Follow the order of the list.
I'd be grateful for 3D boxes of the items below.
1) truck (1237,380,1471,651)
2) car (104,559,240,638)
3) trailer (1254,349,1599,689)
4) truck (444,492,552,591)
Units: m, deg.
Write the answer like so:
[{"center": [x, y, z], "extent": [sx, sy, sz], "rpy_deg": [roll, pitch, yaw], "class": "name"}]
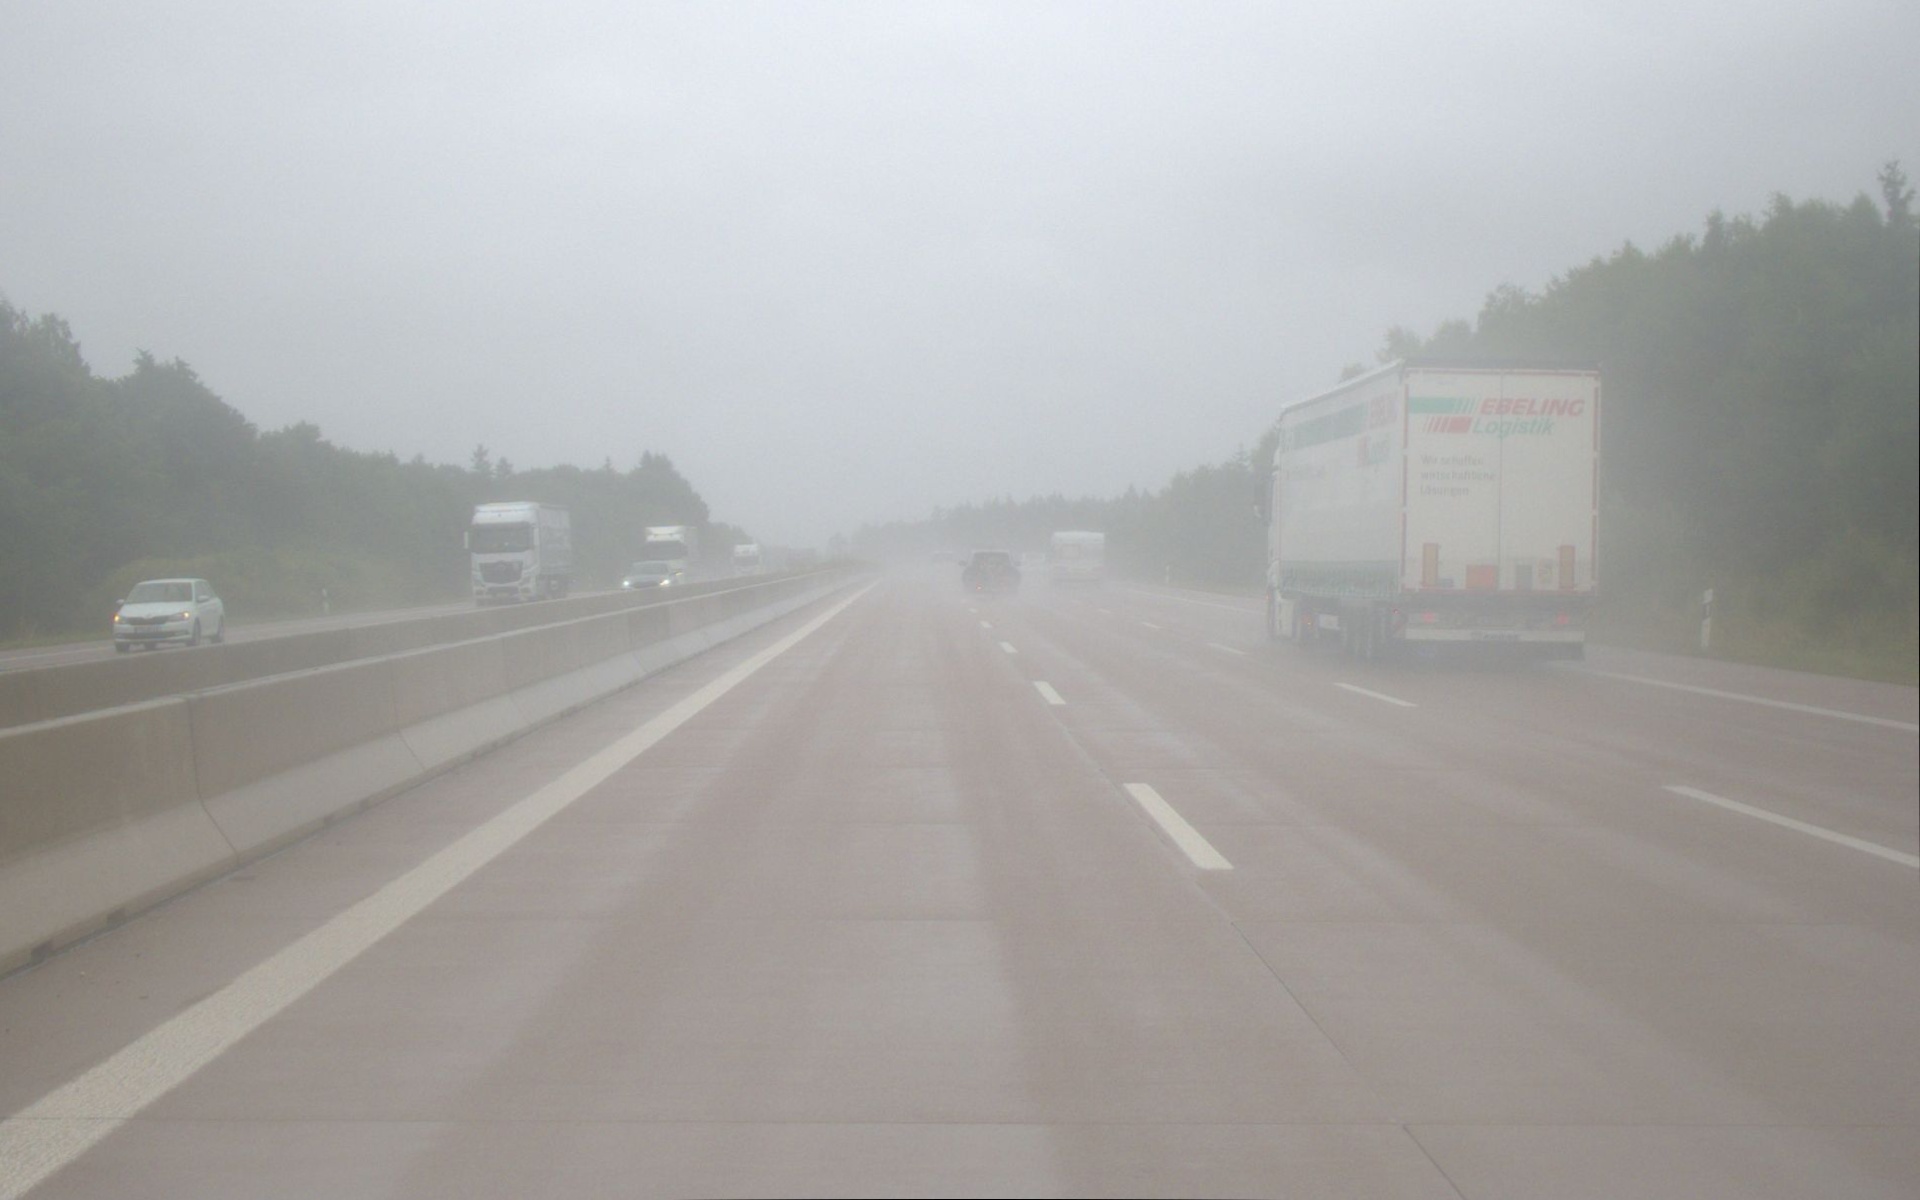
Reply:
[{"center": [6.308, -1.371, 56.023], "extent": [2.880, 4.092, 6.350], "rpy_deg": [-2, 1, -1], "class": "truck"}, {"center": [-16.429, -0.061, 71.884], "extent": [1.754, 1.475, 4.583], "rpy_deg": [-3, 1, -1], "class": "car"}, {"center": [6.451, -1.182, 49.981], "extent": [2.852, 4.217, 13.133], "rpy_deg": [-2, 1, -1], "class": "trailer"}, {"center": [-18.666, -2.336, 139.340], "extent": [3.472, 3.875, 7.464], "rpy_deg": [1, 0, -1], "class": "truck"}]
